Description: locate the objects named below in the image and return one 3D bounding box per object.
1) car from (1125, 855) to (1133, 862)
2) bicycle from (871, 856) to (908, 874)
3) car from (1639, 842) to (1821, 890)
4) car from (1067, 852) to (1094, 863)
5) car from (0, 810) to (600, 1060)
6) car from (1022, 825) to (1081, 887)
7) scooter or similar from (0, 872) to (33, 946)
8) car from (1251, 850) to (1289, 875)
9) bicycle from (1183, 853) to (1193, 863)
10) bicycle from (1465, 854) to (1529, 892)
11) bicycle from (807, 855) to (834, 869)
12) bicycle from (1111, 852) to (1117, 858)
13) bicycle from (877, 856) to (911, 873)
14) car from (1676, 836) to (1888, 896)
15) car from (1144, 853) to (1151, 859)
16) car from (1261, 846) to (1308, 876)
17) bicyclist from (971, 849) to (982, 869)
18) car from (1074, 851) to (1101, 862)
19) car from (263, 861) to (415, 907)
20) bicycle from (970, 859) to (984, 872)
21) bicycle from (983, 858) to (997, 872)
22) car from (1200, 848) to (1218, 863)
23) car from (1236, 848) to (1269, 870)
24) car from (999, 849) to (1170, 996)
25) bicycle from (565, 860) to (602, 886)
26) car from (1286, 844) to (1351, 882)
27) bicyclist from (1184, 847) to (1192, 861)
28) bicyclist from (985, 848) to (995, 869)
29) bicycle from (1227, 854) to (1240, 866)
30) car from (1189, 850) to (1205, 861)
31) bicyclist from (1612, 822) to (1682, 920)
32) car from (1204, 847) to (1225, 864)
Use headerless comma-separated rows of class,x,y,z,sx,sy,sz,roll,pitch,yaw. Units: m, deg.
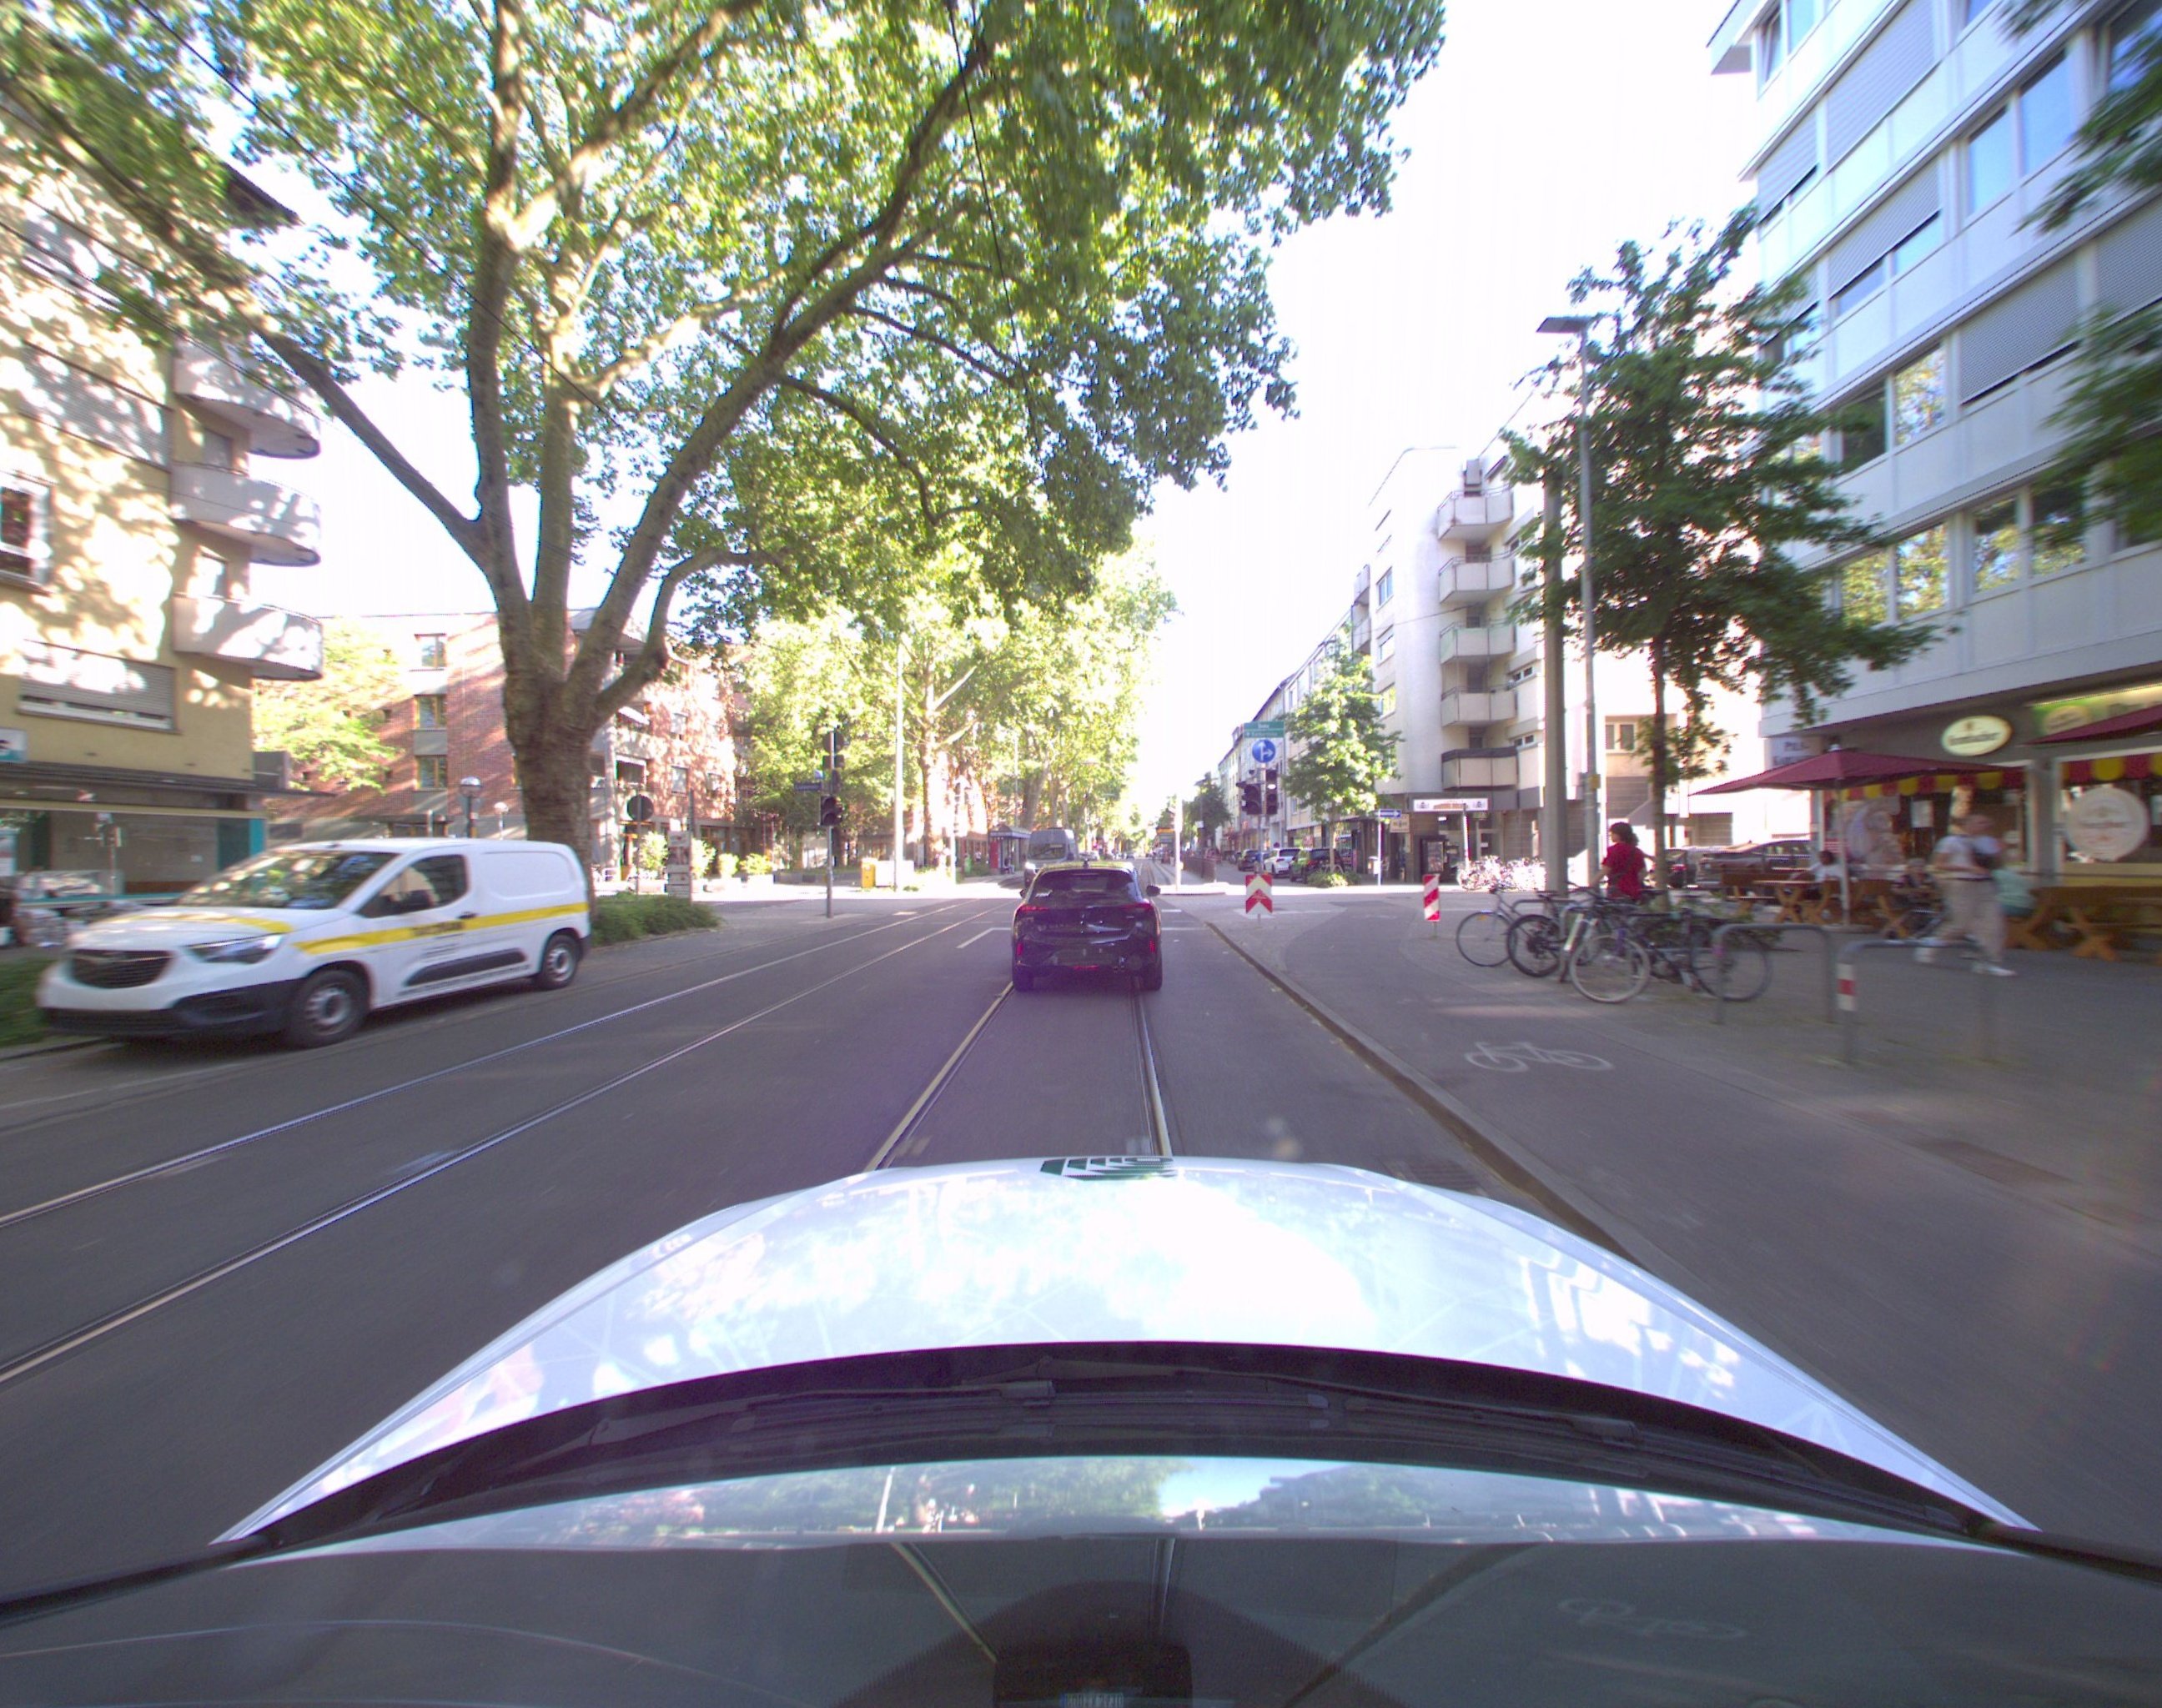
car,11.301,1.057,191.406,1.738,1.544,4.003,0,0,3
bicycle,-13.771,0.784,58.605,2.447,1.219,0.683,2,-1,4
car,21.837,0.380,27.557,4.563,1.477,1.874,-1,2,4
car,-0.060,0.581,126.082,4.104,1.701,1.882,0,-1,-3
car,-7.124,0.620,8.253,1.756,1.851,4.321,0,-1,2
car,-1.310,0.116,39.323,2.104,2.738,6.121,-1,-1,4
scooter or similar,-17.548,0.881,13.144,0.636,1.167,0.679,0,-1,30
car,11.697,0.527,50.649,1.736,1.440,4.252,0,0,4
bicycle,13.531,0.507,102.839,0.858,1.136,2.394,0,-1,-2
bicycle,14.184,0.642,27.769,1.907,1.207,0.511,-1,1,0
bicycle,-20.623,0.660,64.586,1.941,1.073,0.762,0,-1,-12
bicycle,6.879,0.173,171.212,0.950,1.240,2.984,0,-1,7
bicycle,-13.554,0.749,59.036,2.329,1.166,0.683,1,-1,4
car,19.234,0.343,22.472,4.238,1.592,1.965,0,-2,-2
car,18.271,0.641,224.987,1.738,1.544,4.003,0,0,3
car,11.229,0.386,45.175,1.791,1.606,4.420,0,0,4
bicyclist,-8.975,0.449,70.102,0.771,1.750,0.998,0,-1,2
car,1.075,0.428,137.735,4.375,1.851,1.998,0,-1,-3
car,-27.864,1.090,30.667,3.970,1.662,1.962,0,-1,3
bicycle,-8.960,0.985,70.205,0.779,1.111,2.597,0,-1,2
bicycle,-7.855,0.936,70.375,0.779,1.191,2.597,0,-1,2
car,16.023,0.199,102.110,1.985,1.797,4.004,0,-1,4
car,12.798,0.385,61.067,1.848,1.615,4.403,0,0,4
car,0.108,0.725,10.334,1.753,1.508,3.685,-1,-1,2
bicycle,-21.765,0.835,35.686,0.539,1.084,1.640,0,1,3
car,10.956,0.402,37.904,1.984,1.615,4.450,-1,-1,4
bicyclist,13.519,-0.029,103.215,0.859,1.759,1.053,0,-1,-2
bicyclist,-7.857,0.382,70.405,0.779,1.763,0.951,0,-1,1
bicycle,15.144,0.573,81.065,0.620,1.136,2.433,0,-1,-7
car,16.241,0.272,114.306,1.984,1.486,4.005,0,0,4
bicyclist,10.329,0.301,14.895,0.673,1.717,0.967,0,-1,6
car,15.609,0.194,95.348,1.985,1.952,4.004,0,-1,4
